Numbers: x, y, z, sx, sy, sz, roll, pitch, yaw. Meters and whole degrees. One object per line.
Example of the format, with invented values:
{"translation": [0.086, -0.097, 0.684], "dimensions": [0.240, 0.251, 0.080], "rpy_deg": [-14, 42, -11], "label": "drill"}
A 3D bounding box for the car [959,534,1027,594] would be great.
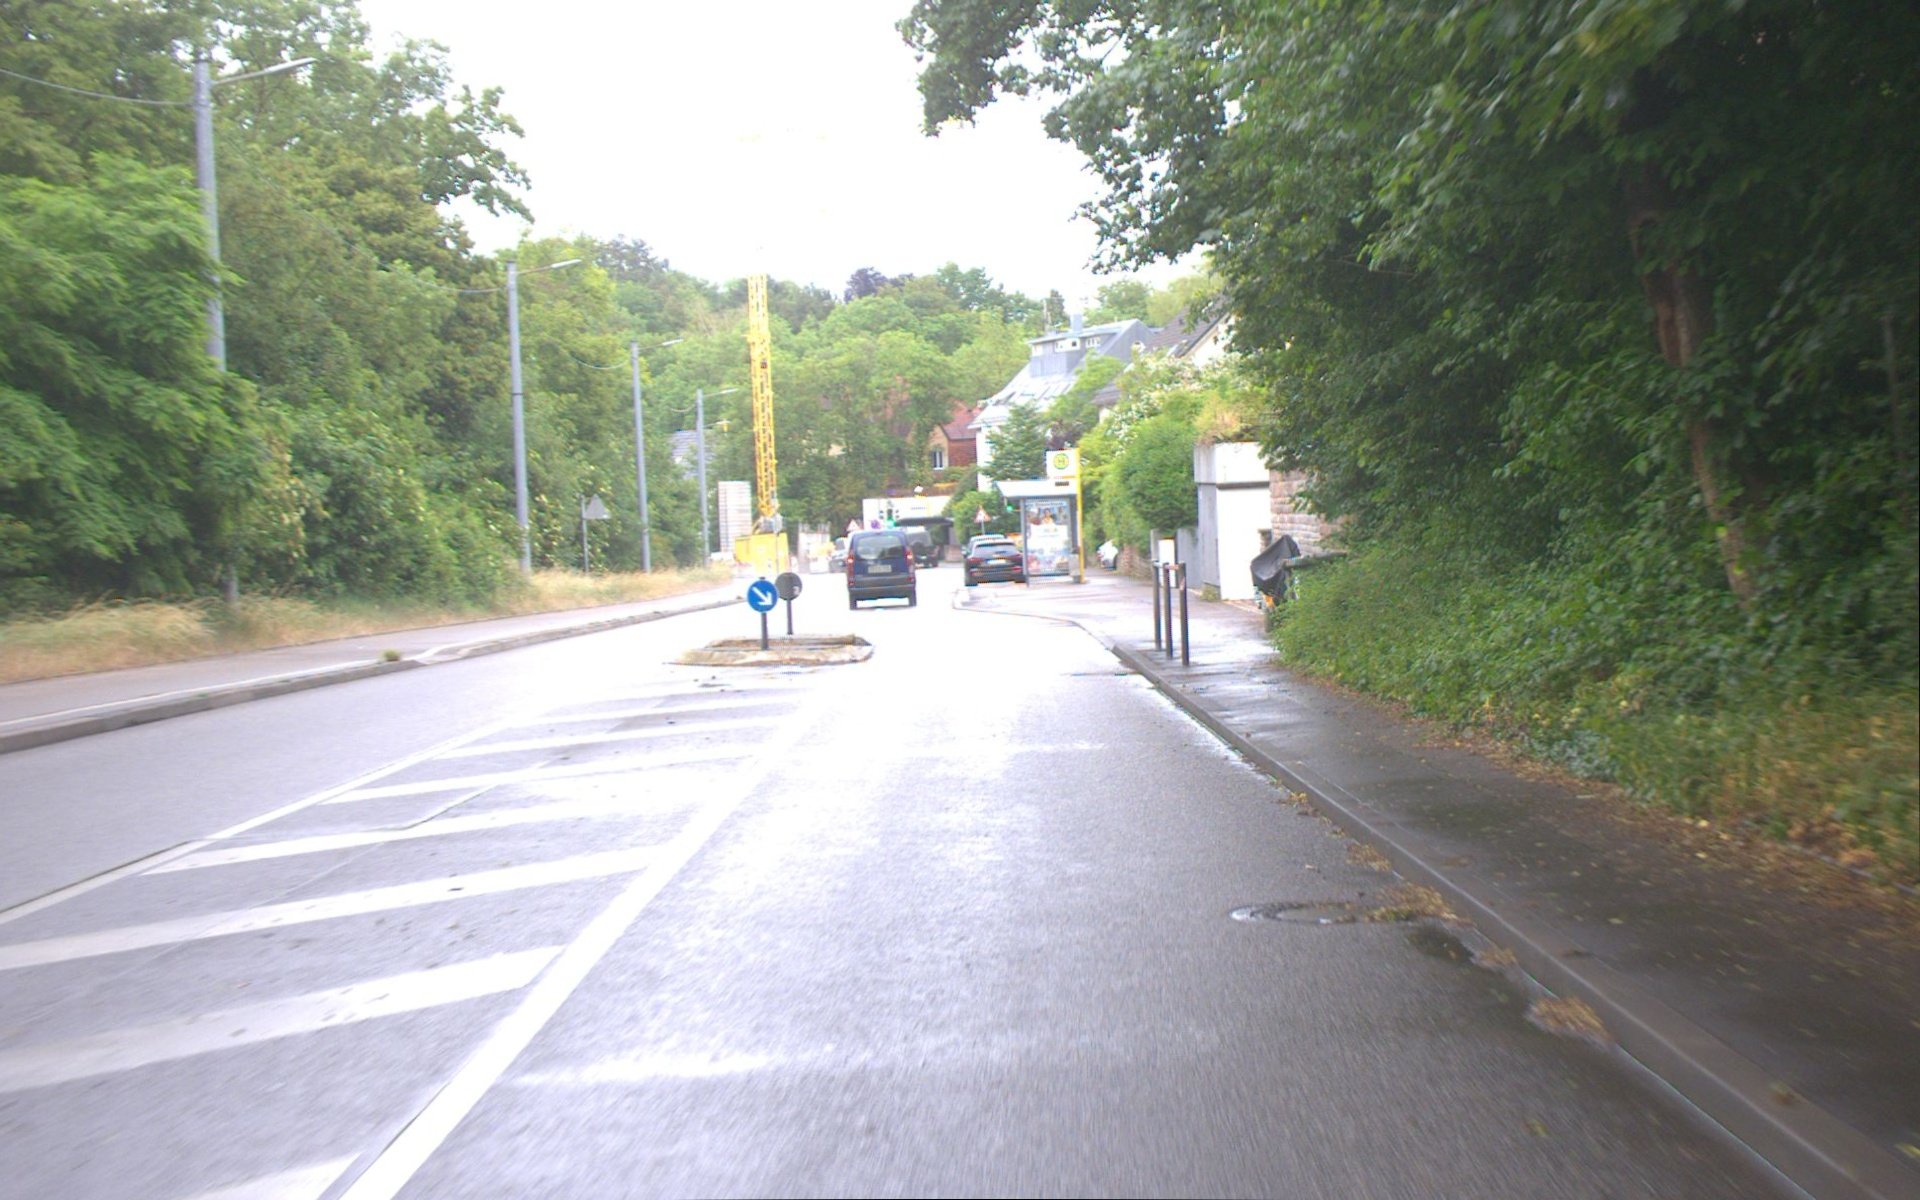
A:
{"translation": [1.017, -1.102, 104.028], "dimensions": [1.993, 1.766, 4.114], "rpy_deg": [1, 1, 1], "label": "car"}

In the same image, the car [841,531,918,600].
{"translation": [-1.900, -0.834, 81.918], "dimensions": [1.667, 1.588, 3.683], "rpy_deg": [-1, 1, 1], "label": "car"}

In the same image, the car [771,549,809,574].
{"translation": [-10.972, -2.450, 221.285], "dimensions": [1.739, 1.546, 3.857], "rpy_deg": [-1, 1, -13], "label": "car"}

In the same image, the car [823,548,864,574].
{"translation": [-7.087, -2.350, 209.205], "dimensions": [1.739, 1.546, 3.857], "rpy_deg": [-1, 1, -13], "label": "car"}

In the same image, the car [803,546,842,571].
{"translation": [-8.598, -2.592, 214.487], "dimensions": [1.739, 1.547, 3.857], "rpy_deg": [0, 0, -13], "label": "car"}
